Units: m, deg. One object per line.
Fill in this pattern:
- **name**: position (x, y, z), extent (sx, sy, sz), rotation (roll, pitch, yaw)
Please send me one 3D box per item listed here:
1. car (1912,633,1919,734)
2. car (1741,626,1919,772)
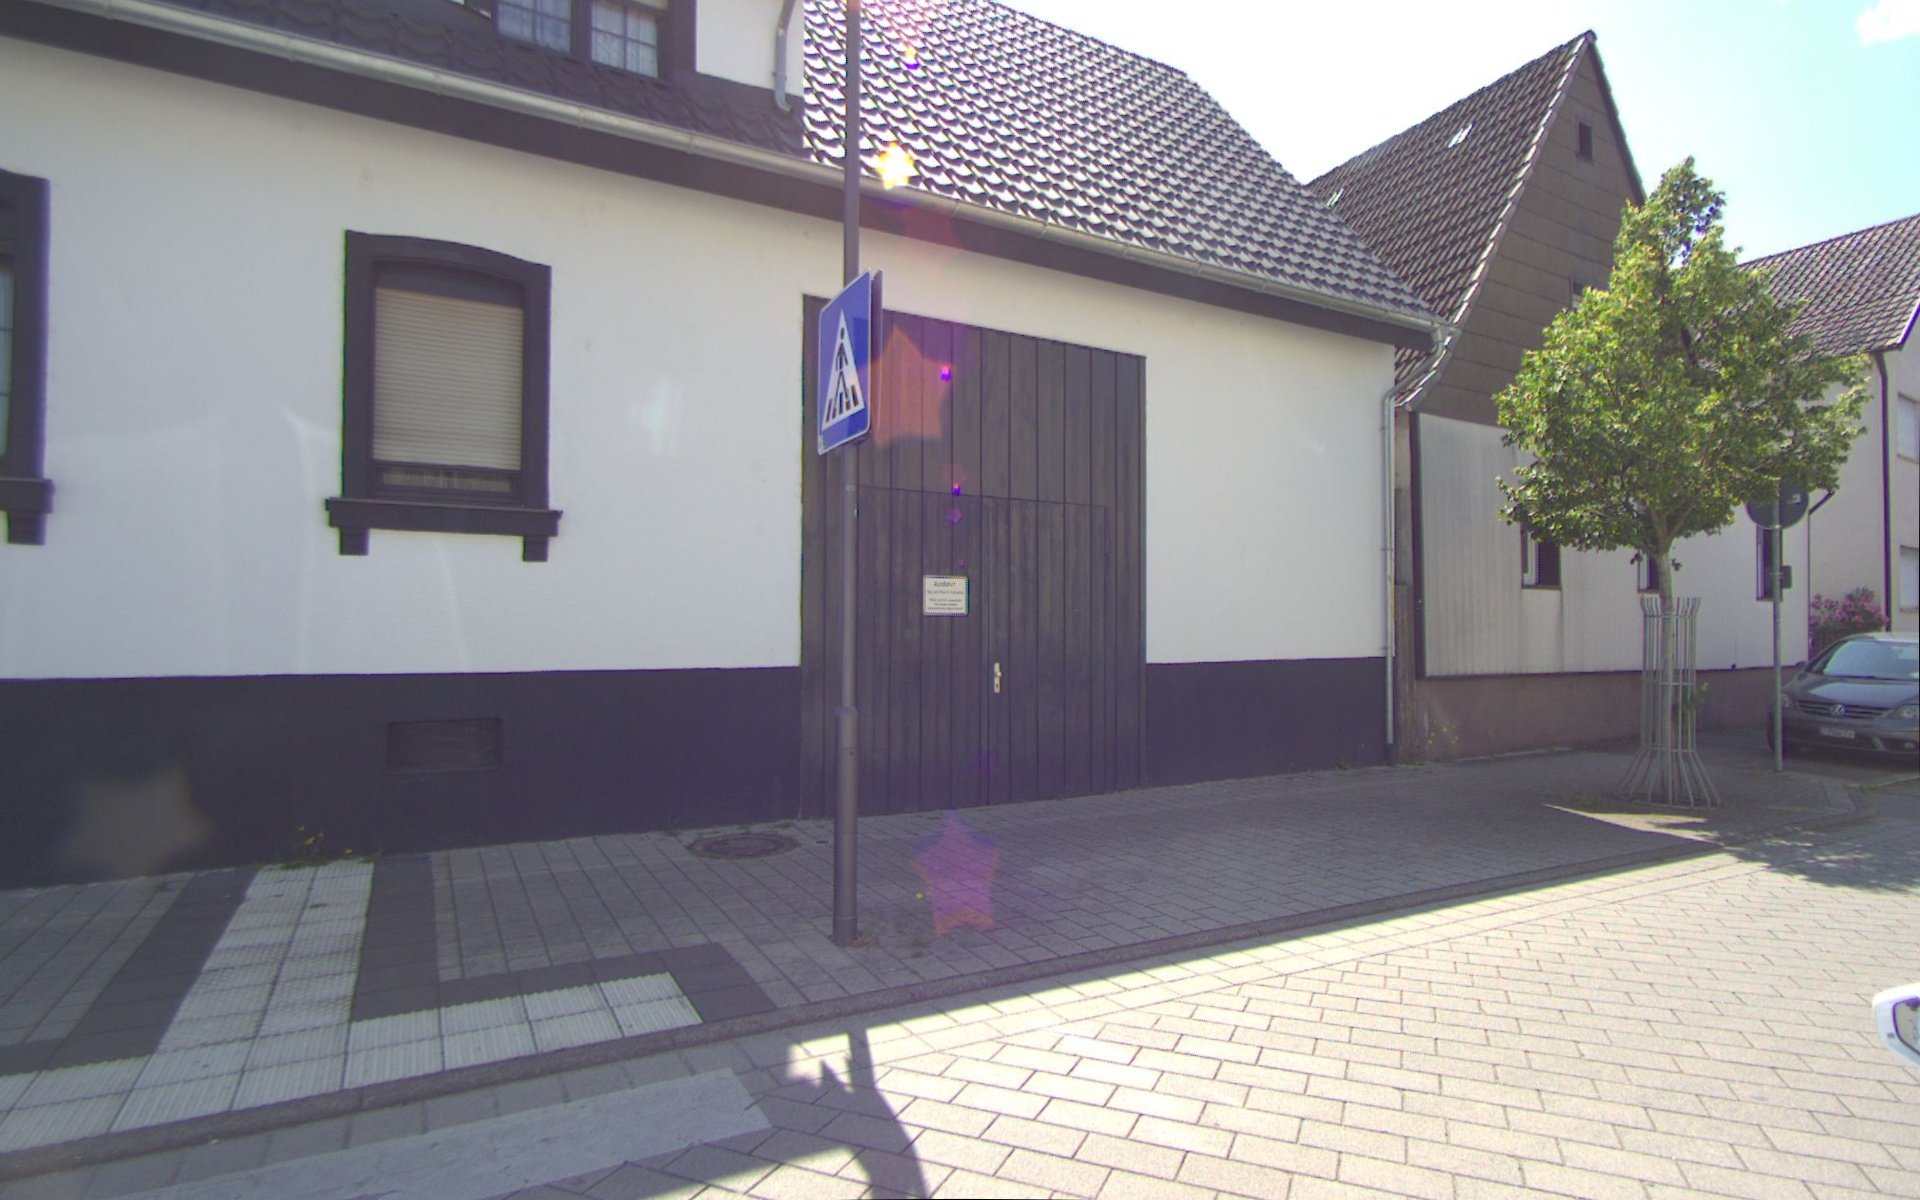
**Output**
- **car**: position (16.905, 1.328, 15.866), extent (4.213, 1.552, 1.741), rotation (1, 0, -32)
- **car**: position (11.821, 1.138, 12.694), extent (3.953, 1.550, 1.739), rotation (1, 0, -30)
